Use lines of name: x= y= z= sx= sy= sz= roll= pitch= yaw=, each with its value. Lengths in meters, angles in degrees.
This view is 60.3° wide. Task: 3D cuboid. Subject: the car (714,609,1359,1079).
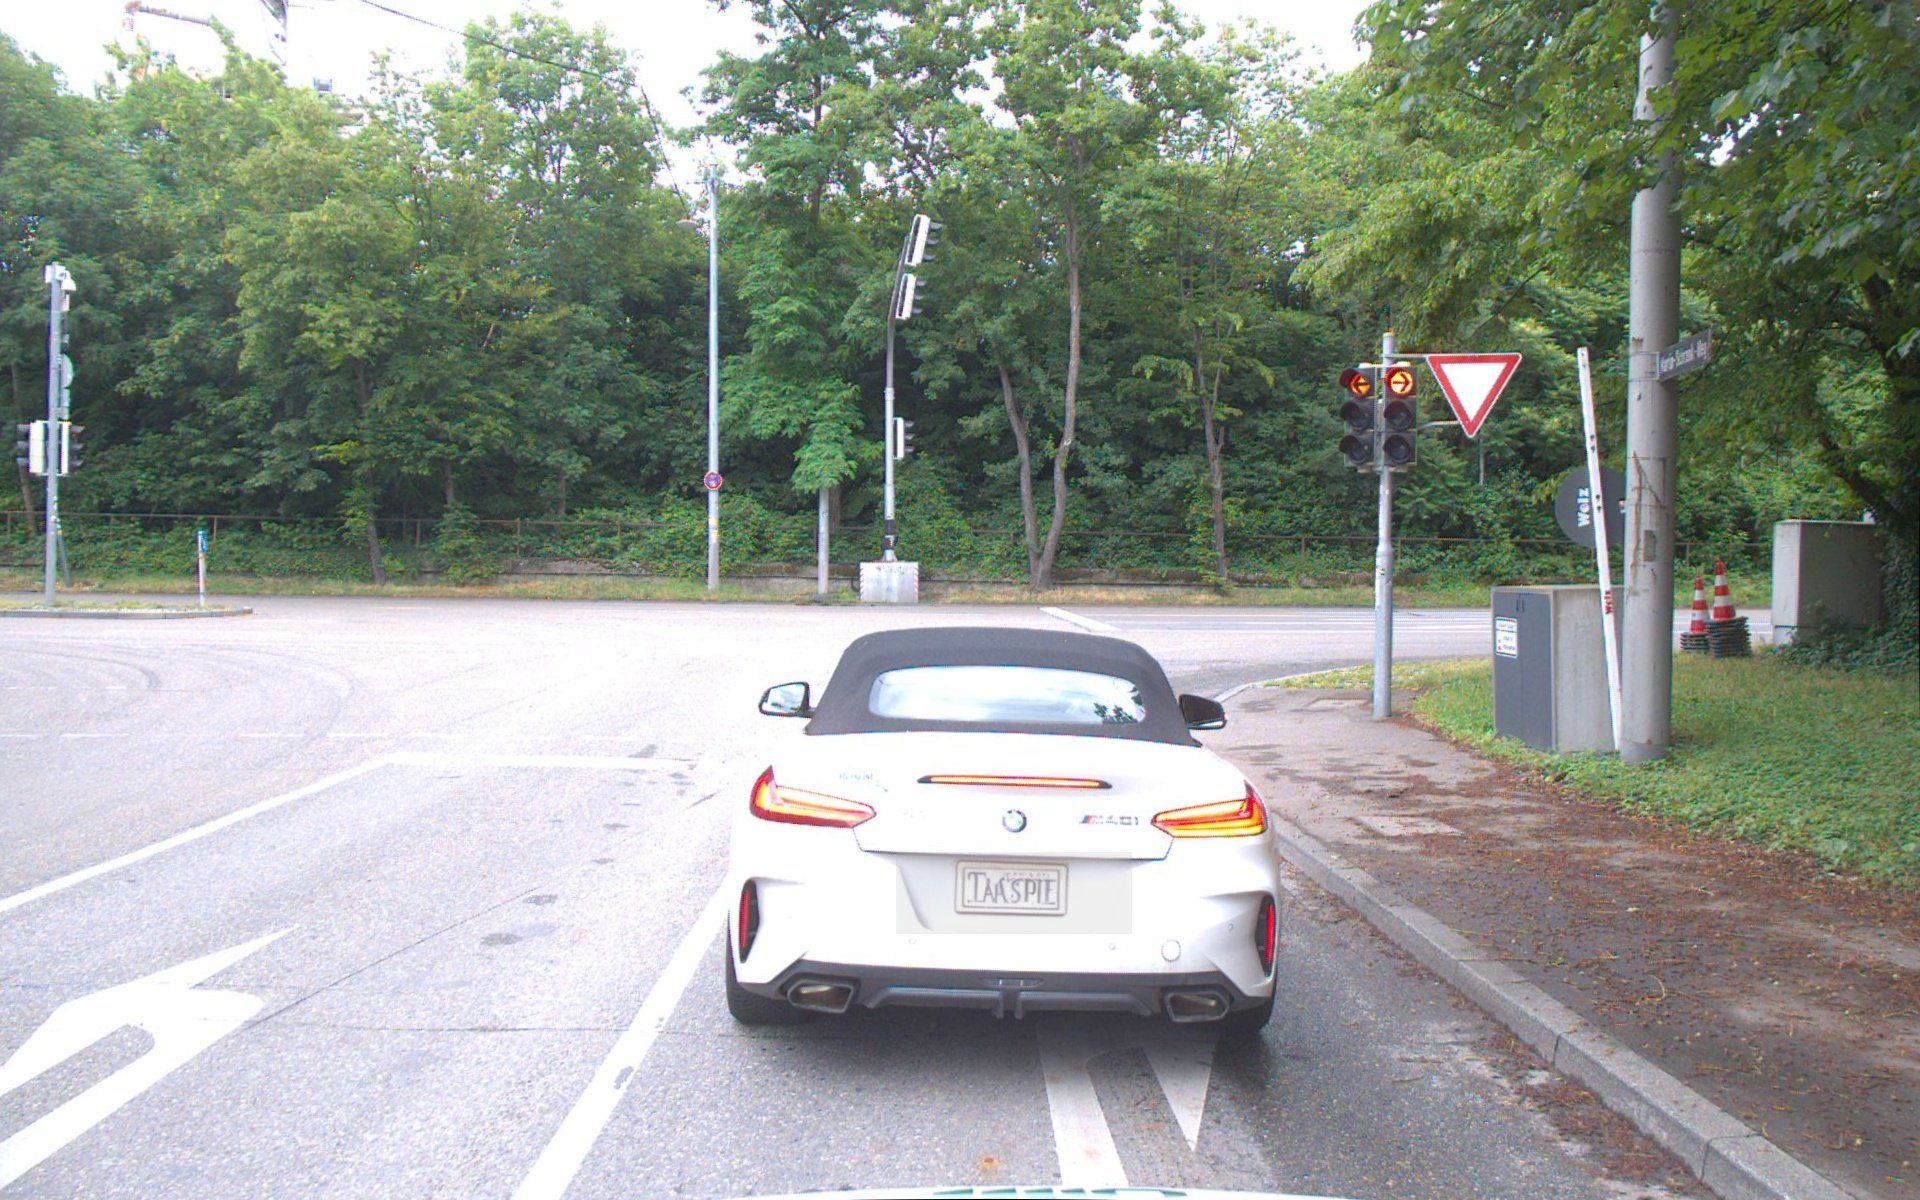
car: x=0.129 y=0.724 z=6.654 sx=1.791 sy=1.279 sz=3.997 roll=2 pitch=-1 yaw=-3
